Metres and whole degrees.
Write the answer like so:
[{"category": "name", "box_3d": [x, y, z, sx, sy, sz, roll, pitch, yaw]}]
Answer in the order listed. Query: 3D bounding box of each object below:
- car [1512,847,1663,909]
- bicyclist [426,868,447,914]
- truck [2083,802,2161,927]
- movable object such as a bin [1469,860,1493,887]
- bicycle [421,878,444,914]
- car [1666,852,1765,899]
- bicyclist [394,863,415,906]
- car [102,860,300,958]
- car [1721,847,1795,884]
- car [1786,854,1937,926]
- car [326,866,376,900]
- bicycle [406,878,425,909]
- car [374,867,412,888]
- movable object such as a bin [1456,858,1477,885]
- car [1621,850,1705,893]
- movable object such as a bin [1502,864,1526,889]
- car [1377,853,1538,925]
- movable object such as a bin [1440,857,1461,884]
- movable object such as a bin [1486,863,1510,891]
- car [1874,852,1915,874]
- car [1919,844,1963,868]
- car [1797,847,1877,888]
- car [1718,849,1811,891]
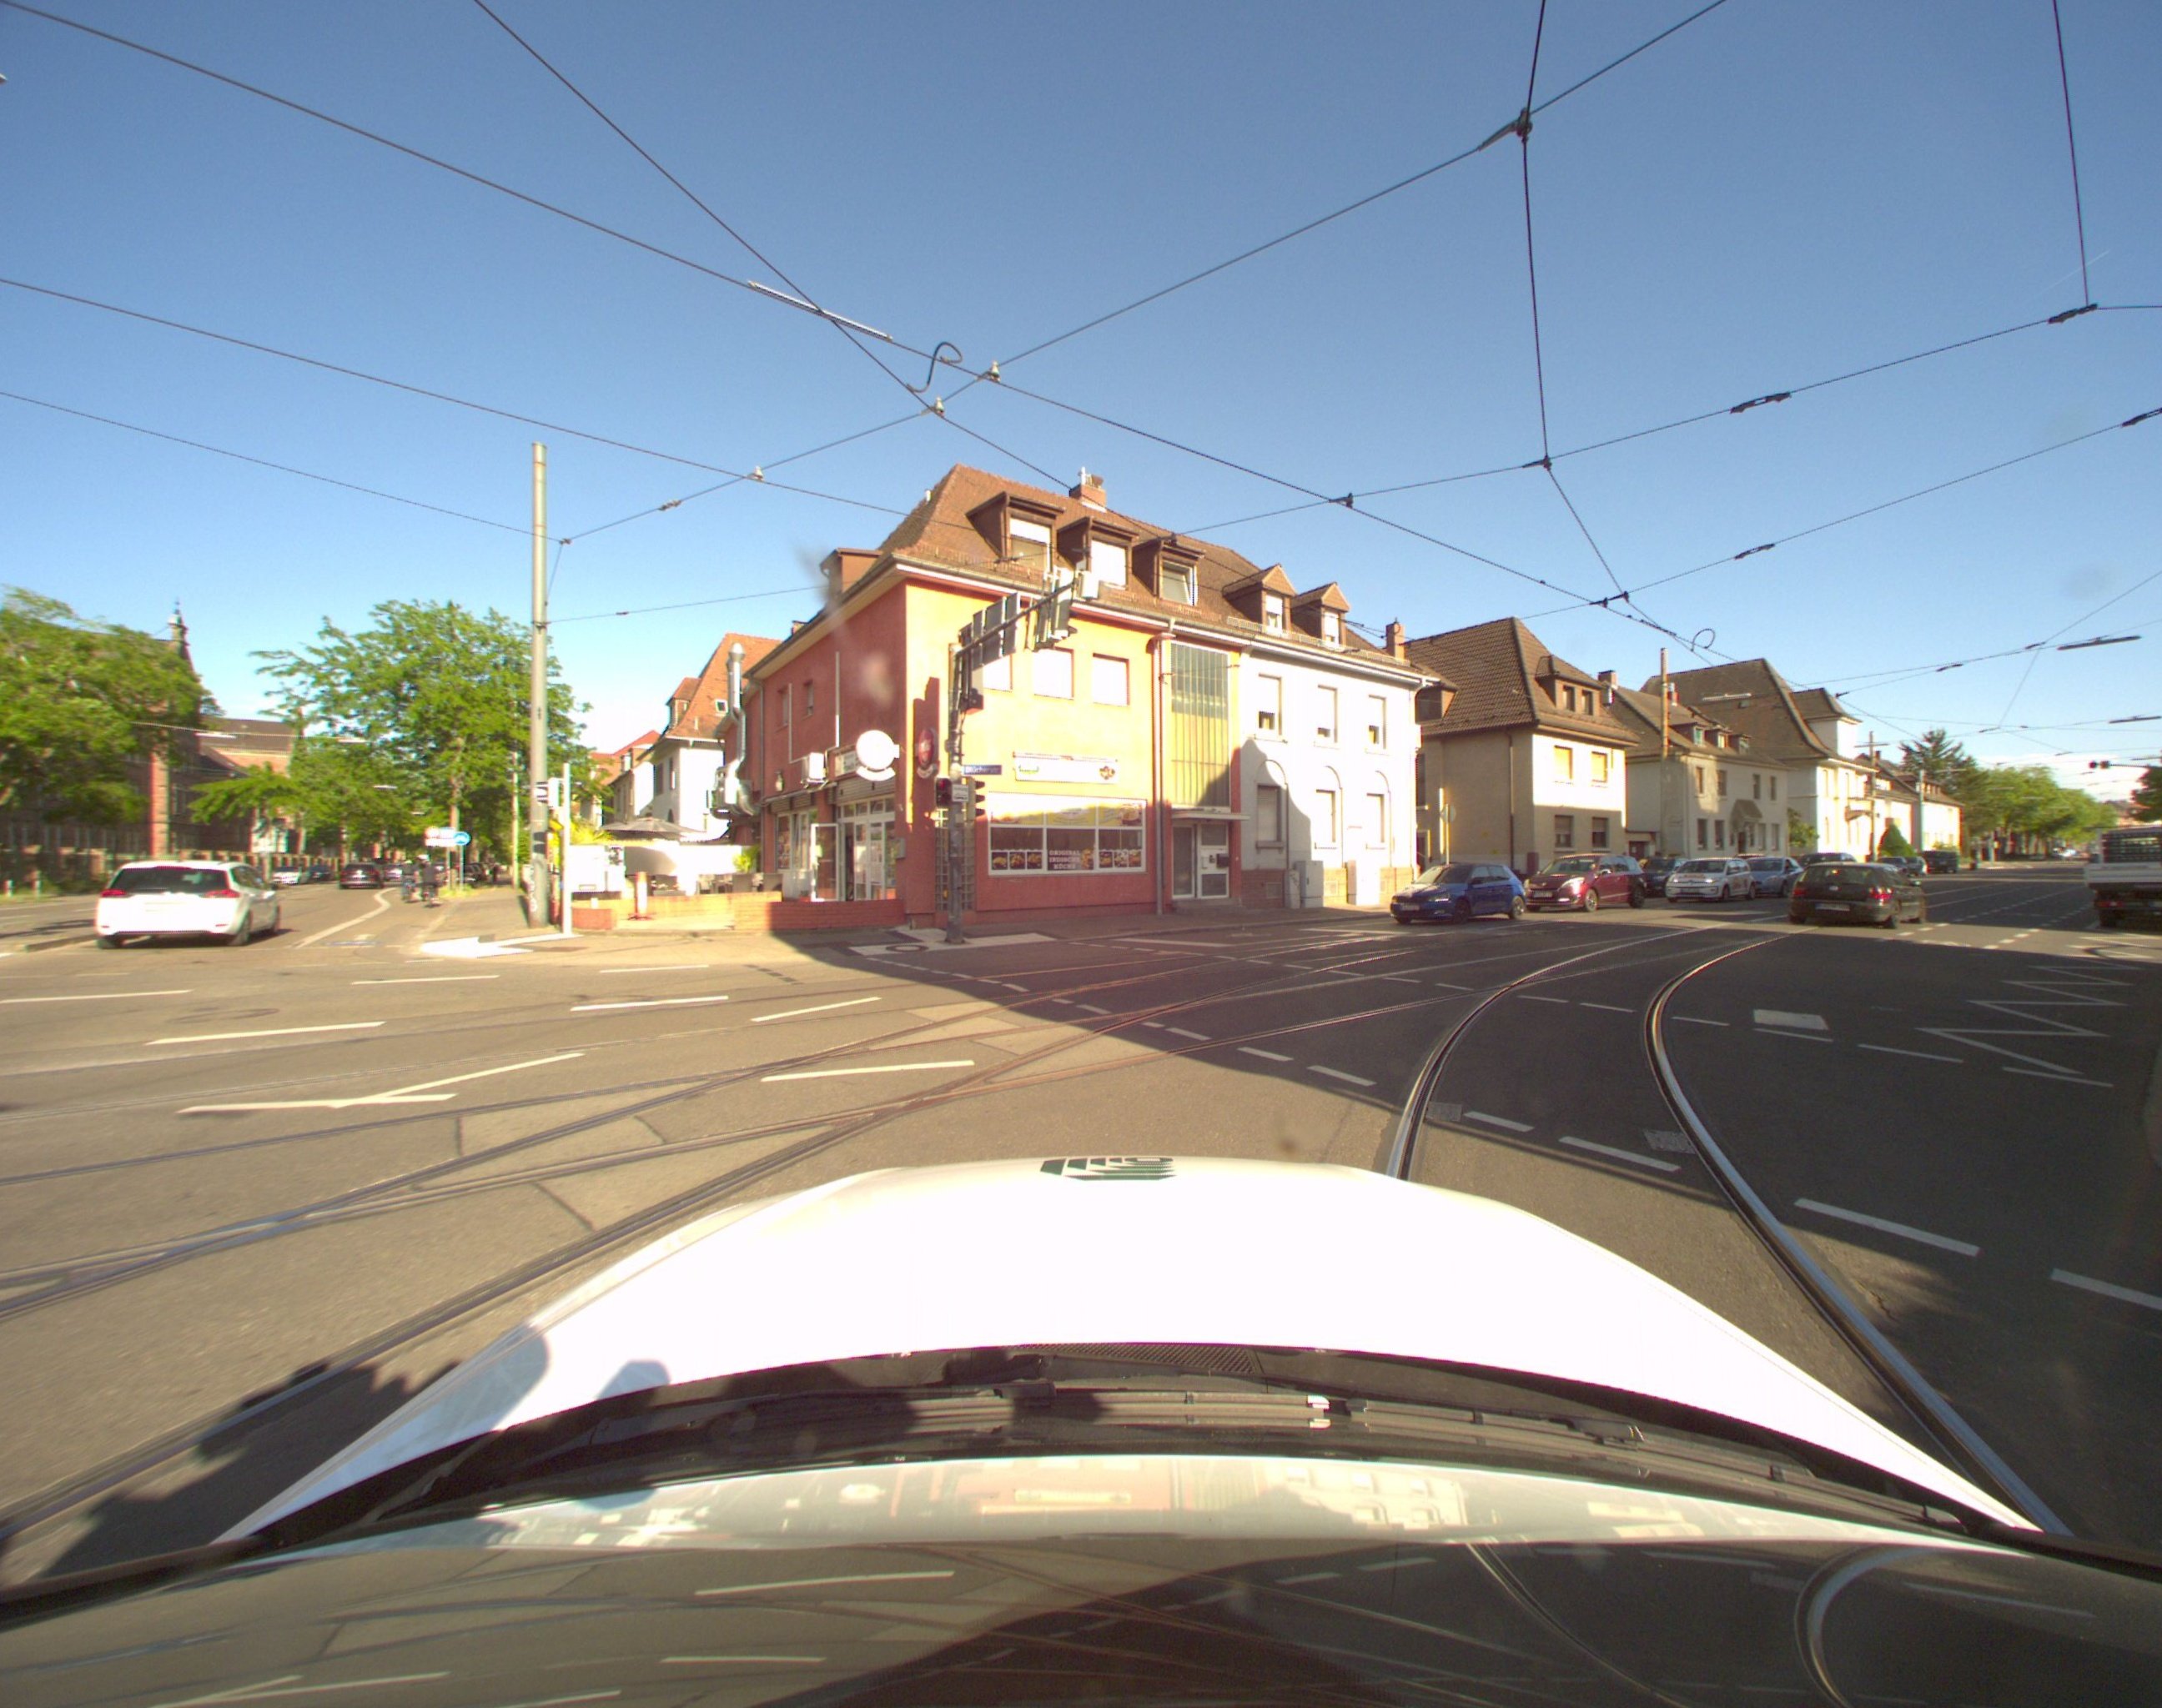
[{"category": "car", "box_3d": [14.643, 0.658, 23.477, 4.730, 1.611, 1.726, 0, -2, -32]}, {"category": "bicyclist", "box_3d": [-23.688, 1.346, 29.935, 0.558, 1.617, 0.679, 1, 0, -36]}, {"category": "truck", "box_3d": [24.157, 0.175, 17.905, 6.172, 2.477, 2.278, -1, 0, -36]}, {"category": "movable object such as a bin", "box_3d": [16.880, 0.807, 34.355, 0.675, 1.111, 0.637, 0, 2, -36]}, {"category": "bicycle", "box_3d": [-23.707, 1.520, 29.800, 0.562, 1.189, 1.974, 0, 0, -36]}, {"category": "car", "box_3d": [21.278, 0.706, 27.274, 3.628, 1.461, 1.570, 0, -2, -35]}, {"category": "bicyclist", "box_3d": [-27.129, 1.215, 32.667, 0.613, 1.656, 0.786, 0, 0, -38]}, {"category": "car", "box_3d": [-17.473, 1.007, 16.430, 1.978, 1.665, 4.201, 3, -2, -38]}, {"category": "car", "box_3d": [33.641, 0.559, 40.425, 4.576, 1.705, 1.748, 0, -2, -37]}, {"category": "car", "box_3d": [17.405, 0.739, 18.109, 4.023, 1.402, 1.703, 0, -1, -36]}, {"category": "car", "box_3d": [-44.190, 1.731, 49.377, 2.008, 1.850, 4.200, 3, -2, -40]}, {"category": "bicycle", "box_3d": [-26.832, 1.571, 32.833, 0.474, 1.189, 1.974, 0, 0, -36]}, {"category": "car", "box_3d": [-59.481, 1.997, 70.468, 2.006, 1.665, 4.080, 3, -2, -35]}, {"category": "movable object such as a bin", "box_3d": [16.500, 0.757, 34.876, 0.593, 1.111, 0.565, 0, 2, -36]}, {"category": "car", "box_3d": [23.703, 0.702, 33.148, 3.939, 1.628, 1.602, 0, -2, -37]}, {"category": "movable object such as a bin", "box_3d": [17.680, 0.909, 33.256, 0.585, 0.944, 0.652, 0, 2, -36]}, {"category": "car", "box_3d": [9.154, 0.806, 19.702, 3.944, 1.568, 1.671, -1, -3, -34]}, {"category": "movable object such as a bin", "box_3d": [16.078, 0.707, 35.464, 0.593, 1.111, 0.610, 0, 2, -36]}, {"category": "movable object such as a bin", "box_3d": [17.298, 0.943, 33.781, 0.675, 1.079, 0.611, 0, 2, -36]}, {"category": "car", "box_3d": [57.674, 0.612, 57.704, 4.272, 1.477, 1.649, -1, 0, -40]}, {"category": "car", "box_3d": [74.222, 0.167, 70.273, 4.969, 2.013, 1.892, -1, 1, -35]}, {"category": "car", "box_3d": [32.968, 0.549, 35.476, 4.382, 1.705, 1.690, 0, -1, -36]}, {"category": "car", "box_3d": [25.274, 0.570, 30.078, 4.092, 1.461, 1.605, 0, -2, -36]}]
